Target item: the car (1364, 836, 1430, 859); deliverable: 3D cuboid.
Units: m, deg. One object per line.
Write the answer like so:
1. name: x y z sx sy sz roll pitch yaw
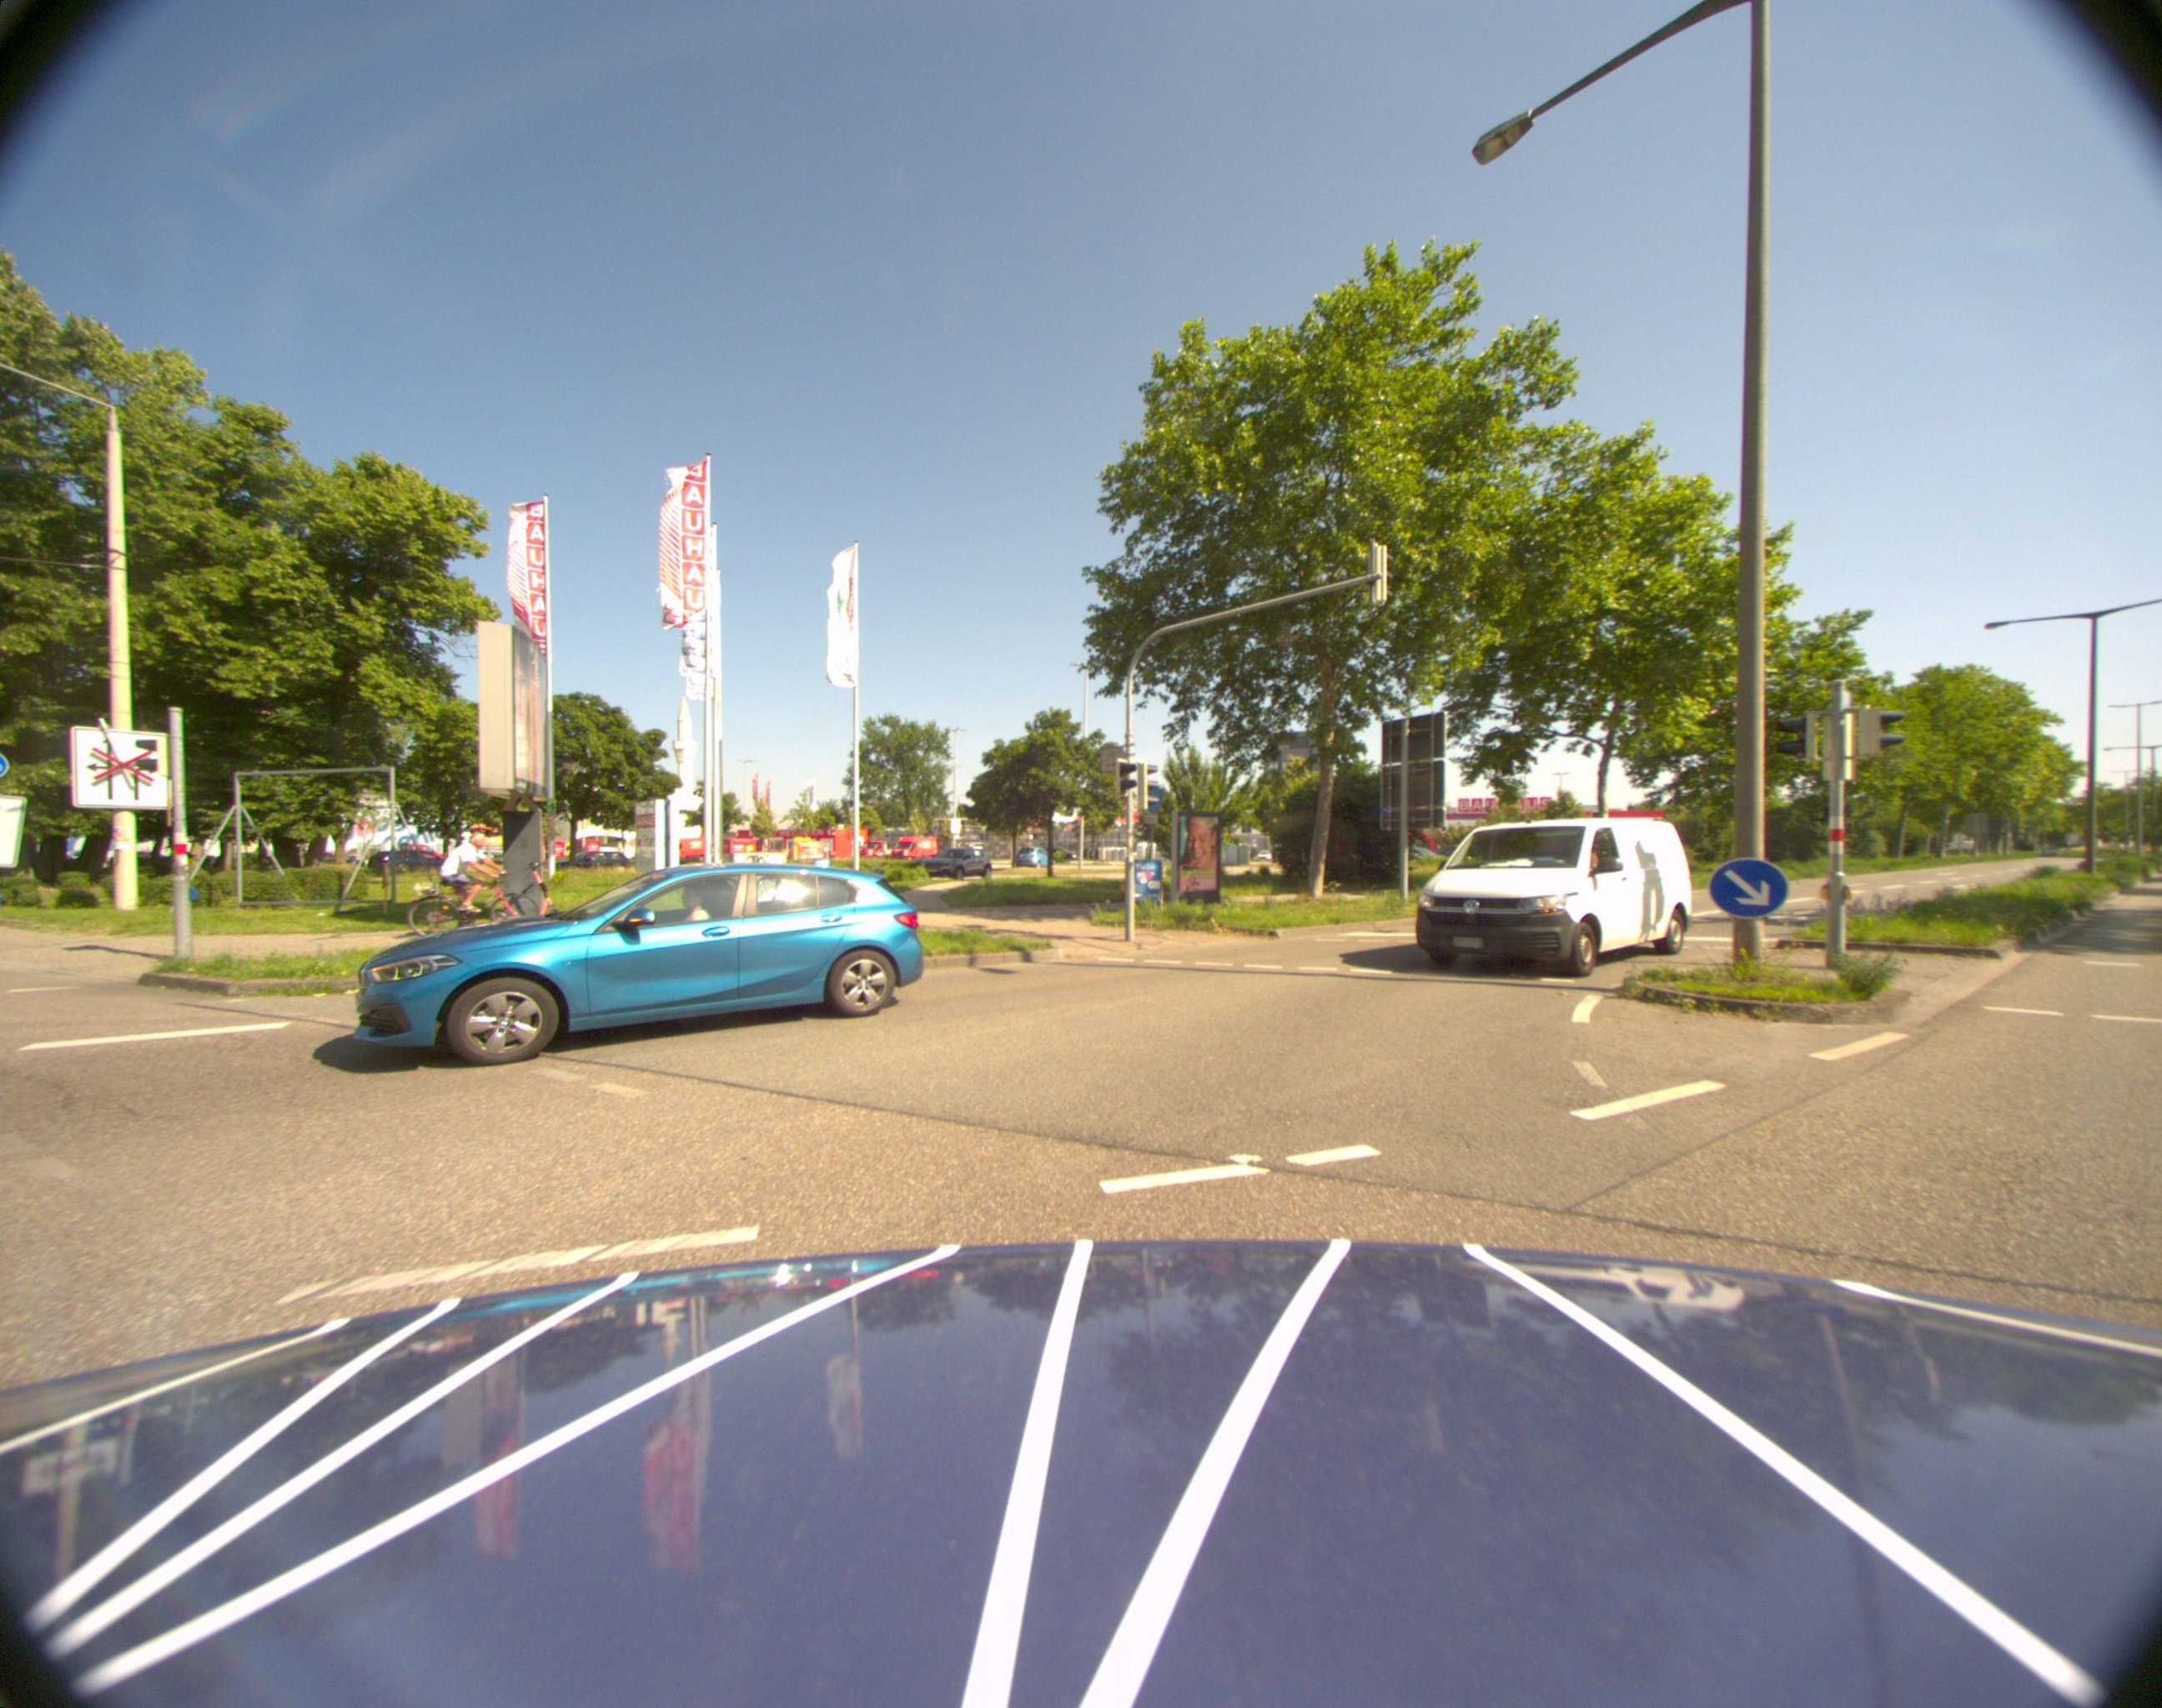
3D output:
1. car: 19.865 -0.403 47.856 1.615 1.239 3.522 -2 0 -31

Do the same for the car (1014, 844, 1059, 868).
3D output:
1. car: -2.922 0.113 50.319 1.540 1.523 3.493 -2 0 23

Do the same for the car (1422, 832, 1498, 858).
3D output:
1. car: 25.023 -0.580 50.272 2.003 1.473 3.991 -2 0 -31

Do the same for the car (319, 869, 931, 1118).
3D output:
1. car: -3.669 0.929 6.784 4.138 1.412 1.869 -2 1 -36

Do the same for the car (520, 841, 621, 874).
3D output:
1. car: -27.467 0.162 41.012 1.995 1.674 4.007 -2 0 30

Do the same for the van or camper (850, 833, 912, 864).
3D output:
1. van or camper: -19.845 -0.539 75.815 1.996 2.924 7.298 -2 0 21

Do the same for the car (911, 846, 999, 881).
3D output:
1. car: -5.470 0.379 33.430 1.902 1.411 4.006 -2 0 23

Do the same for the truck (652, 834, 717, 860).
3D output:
1. truck: -39.412 -0.668 75.676 1.996 2.398 5.790 -2 0 21

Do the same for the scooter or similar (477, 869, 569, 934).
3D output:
1. scooter or similar: -10.643 0.883 14.537 1.376 1.142 0.435 -1 2 -35

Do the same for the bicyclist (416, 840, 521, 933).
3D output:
1. bicyclist: -10.242 0.510 12.759 1.238 1.469 0.757 -1 2 -30

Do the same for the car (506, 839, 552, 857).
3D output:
1. car: -64.655 -0.673 89.070 1.996 2.002 4.004 -2 0 14

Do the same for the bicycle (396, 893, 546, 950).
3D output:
1. bicycle: -10.246 1.113 12.851 1.913 0.790 0.532 -1 2 -31

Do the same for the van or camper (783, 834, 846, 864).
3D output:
1. van or camper: -28.032 -0.542 80.259 1.996 2.924 7.298 -2 0 21

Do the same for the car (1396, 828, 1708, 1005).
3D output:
1. car: 6.540 0.619 10.319 4.890 1.889 1.869 -2 1 -36

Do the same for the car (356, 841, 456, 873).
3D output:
1. car: -40.734 0.166 45.942 1.995 1.827 4.007 -2 0 30

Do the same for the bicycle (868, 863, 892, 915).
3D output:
1. bicycle: -4.912 0.826 18.611 0.496 1.133 1.906 -2 2 -15

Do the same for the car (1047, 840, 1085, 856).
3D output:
1. car: -1.691 -0.662 87.346 3.921 1.712 1.791 -3 0 22
